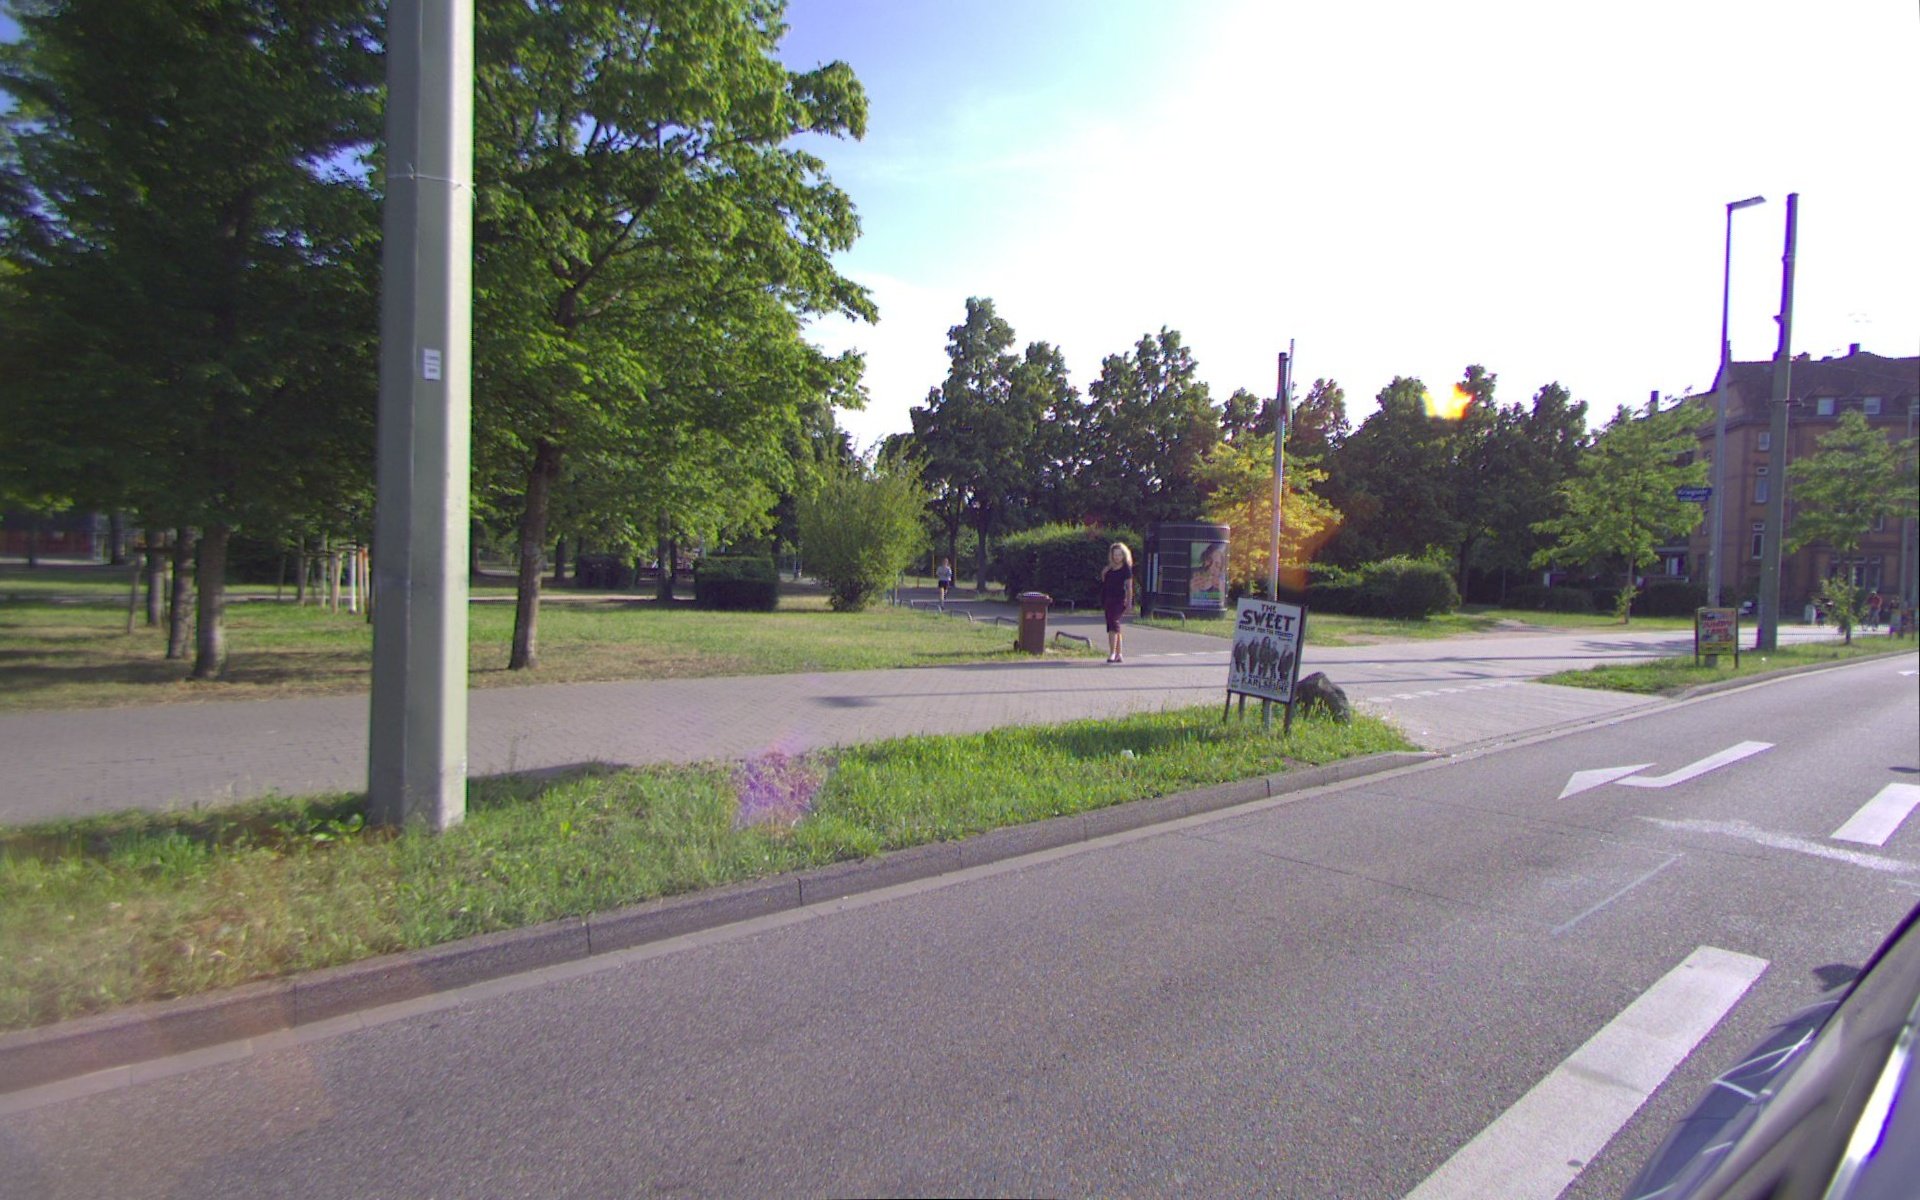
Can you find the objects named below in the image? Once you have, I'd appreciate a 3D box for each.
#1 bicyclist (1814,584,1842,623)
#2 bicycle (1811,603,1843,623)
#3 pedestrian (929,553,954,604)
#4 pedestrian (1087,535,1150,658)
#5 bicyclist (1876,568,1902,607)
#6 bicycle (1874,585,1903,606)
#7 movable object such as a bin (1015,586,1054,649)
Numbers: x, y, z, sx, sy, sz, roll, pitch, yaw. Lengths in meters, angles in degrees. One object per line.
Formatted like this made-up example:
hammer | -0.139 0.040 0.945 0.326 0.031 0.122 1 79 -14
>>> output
bicyclist | 41.034 0.168 47.840 1.098 1.795 0.754 1 2 -38
bicycle | 41.030 0.606 47.881 2.056 0.929 0.740 0 2 -38
pedestrian | -0.615 -0.709 33.272 0.609 1.671 0.664 1 1 -16
pedestrian | 2.282 -0.056 14.572 0.651 1.722 0.558 0 2 -41
bicyclist | 42.845 -0.580 46.655 0.998 1.795 0.730 0 2 -42
bicycle | 42.709 -0.222 46.546 2.058 0.929 0.739 0 2 -42
movable object such as a bin | 1.124 0.255 15.394 0.514 0.915 0.504 2 1 -2
